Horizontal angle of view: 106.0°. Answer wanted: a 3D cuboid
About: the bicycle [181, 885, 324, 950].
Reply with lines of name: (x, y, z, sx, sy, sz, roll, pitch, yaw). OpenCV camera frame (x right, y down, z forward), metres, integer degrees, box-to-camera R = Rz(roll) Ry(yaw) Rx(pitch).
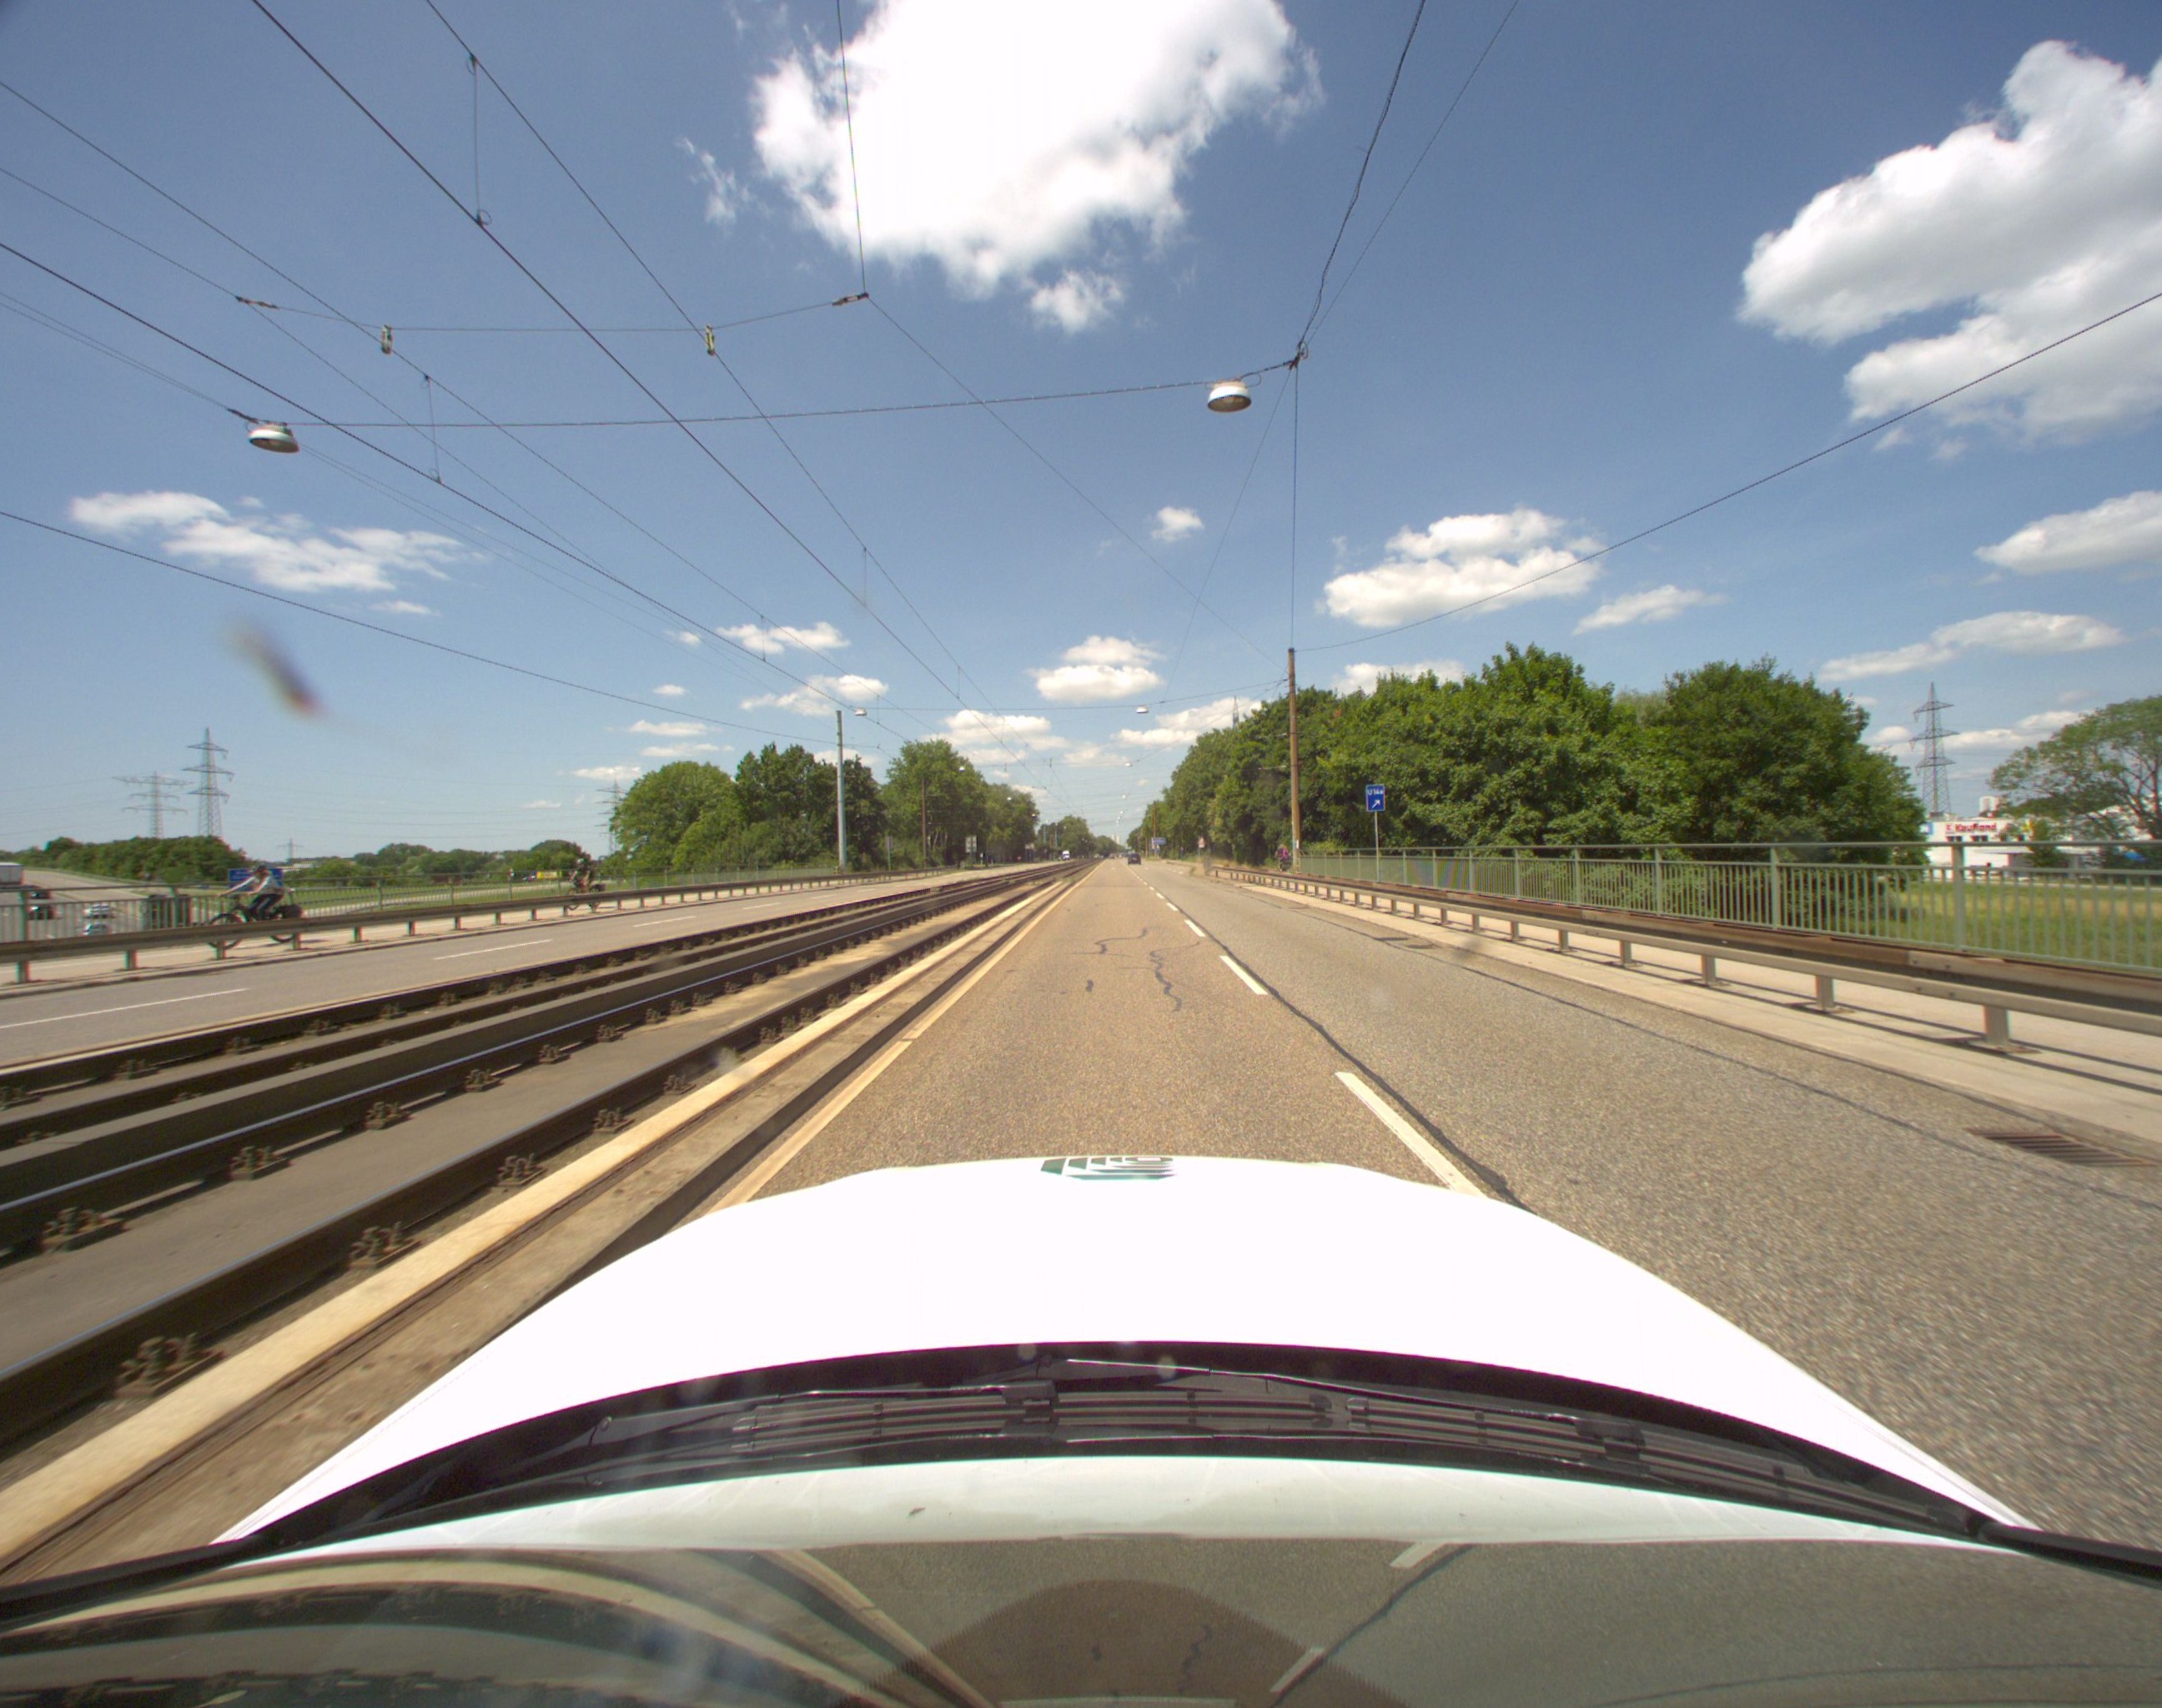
bicycle: (-17.238, 1.293, 17.030, 0.853, 1.185, 2.063, 0, 0, 2)

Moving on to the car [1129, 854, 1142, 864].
car: (7.458, 0.676, 110.944, 1.580, 1.343, 3.273, -2, 1, 1)

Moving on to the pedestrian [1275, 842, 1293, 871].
pedestrian: (10.064, 0.125, 40.460, 0.625, 1.374, 1.051, -2, 0, 2)

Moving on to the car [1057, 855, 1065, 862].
car: (-5.138, 1.164, 213.136, 1.810, 1.514, 4.430, -2, 0, 2)

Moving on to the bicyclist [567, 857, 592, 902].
bicyclist: (-16.936, 0.857, 27.507, 0.519, 1.497, 0.530, 0, 0, 1)

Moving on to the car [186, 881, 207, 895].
car: (-120.575, 4.609, 110.983, 3.950, 1.642, 1.751, 4, 1, 41)

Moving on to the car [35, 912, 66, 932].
car: (-110.242, 7.212, 87.149, 3.949, 1.642, 1.751, 4, 0, 35)

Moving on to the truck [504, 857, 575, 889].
truck: (-102.276, 3.591, 153.963, 10.846, 5.636, 3.264, 2, 1, -31)

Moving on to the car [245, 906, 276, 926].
car: (-95.641, 7.184, 94.928, 3.949, 2.013, 2.012, 3, 0, 37)

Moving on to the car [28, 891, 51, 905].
car: (-147.717, 6.208, 115.524, 3.949, 1.642, 1.947, 4, 1, 37)

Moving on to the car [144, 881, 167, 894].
car: (-144.723, 5.267, 127.289, 3.949, 1.642, 1.751, 4, 1, 32)

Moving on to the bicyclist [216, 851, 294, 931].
bicyclist: (-17.265, 0.752, 17.043, 0.760, 1.622, 0.838, 0, 0, 2)

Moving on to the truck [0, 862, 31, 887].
truck: (-179.030, 3.434, 135.906, 8.097, 3.705, 3.687, 3, 2, 31)

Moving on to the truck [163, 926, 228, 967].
truck: (-68.676, 7.065, 63.128, 6.368, 2.208, 2.911, 4, 1, 38)

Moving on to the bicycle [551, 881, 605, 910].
bicycle: (-16.933, 1.389, 27.443, 0.521, 0.843, 2.036, 0, 1, 1)

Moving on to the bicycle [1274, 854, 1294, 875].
bicycle: (10.063, 0.521, 40.414, 0.557, 1.024, 1.849, -2, 0, 2)

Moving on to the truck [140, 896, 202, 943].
truck: (-79.121, 5.597, 70.780, 6.502, 3.452, 2.808, 2, 0, 36)

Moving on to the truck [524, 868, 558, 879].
truck: (-97.790, 3.549, 147.516, 4.811, 1.768, 1.935, 0, 2, -26)

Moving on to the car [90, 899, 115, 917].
car: (-108.791, 5.978, 90.538, 3.950, 1.642, 1.751, 4, 1, 39)

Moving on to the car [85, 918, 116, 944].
car: (-84.836, 6.630, 70.455, 3.950, 1.642, 1.606, 4, 1, 38)
